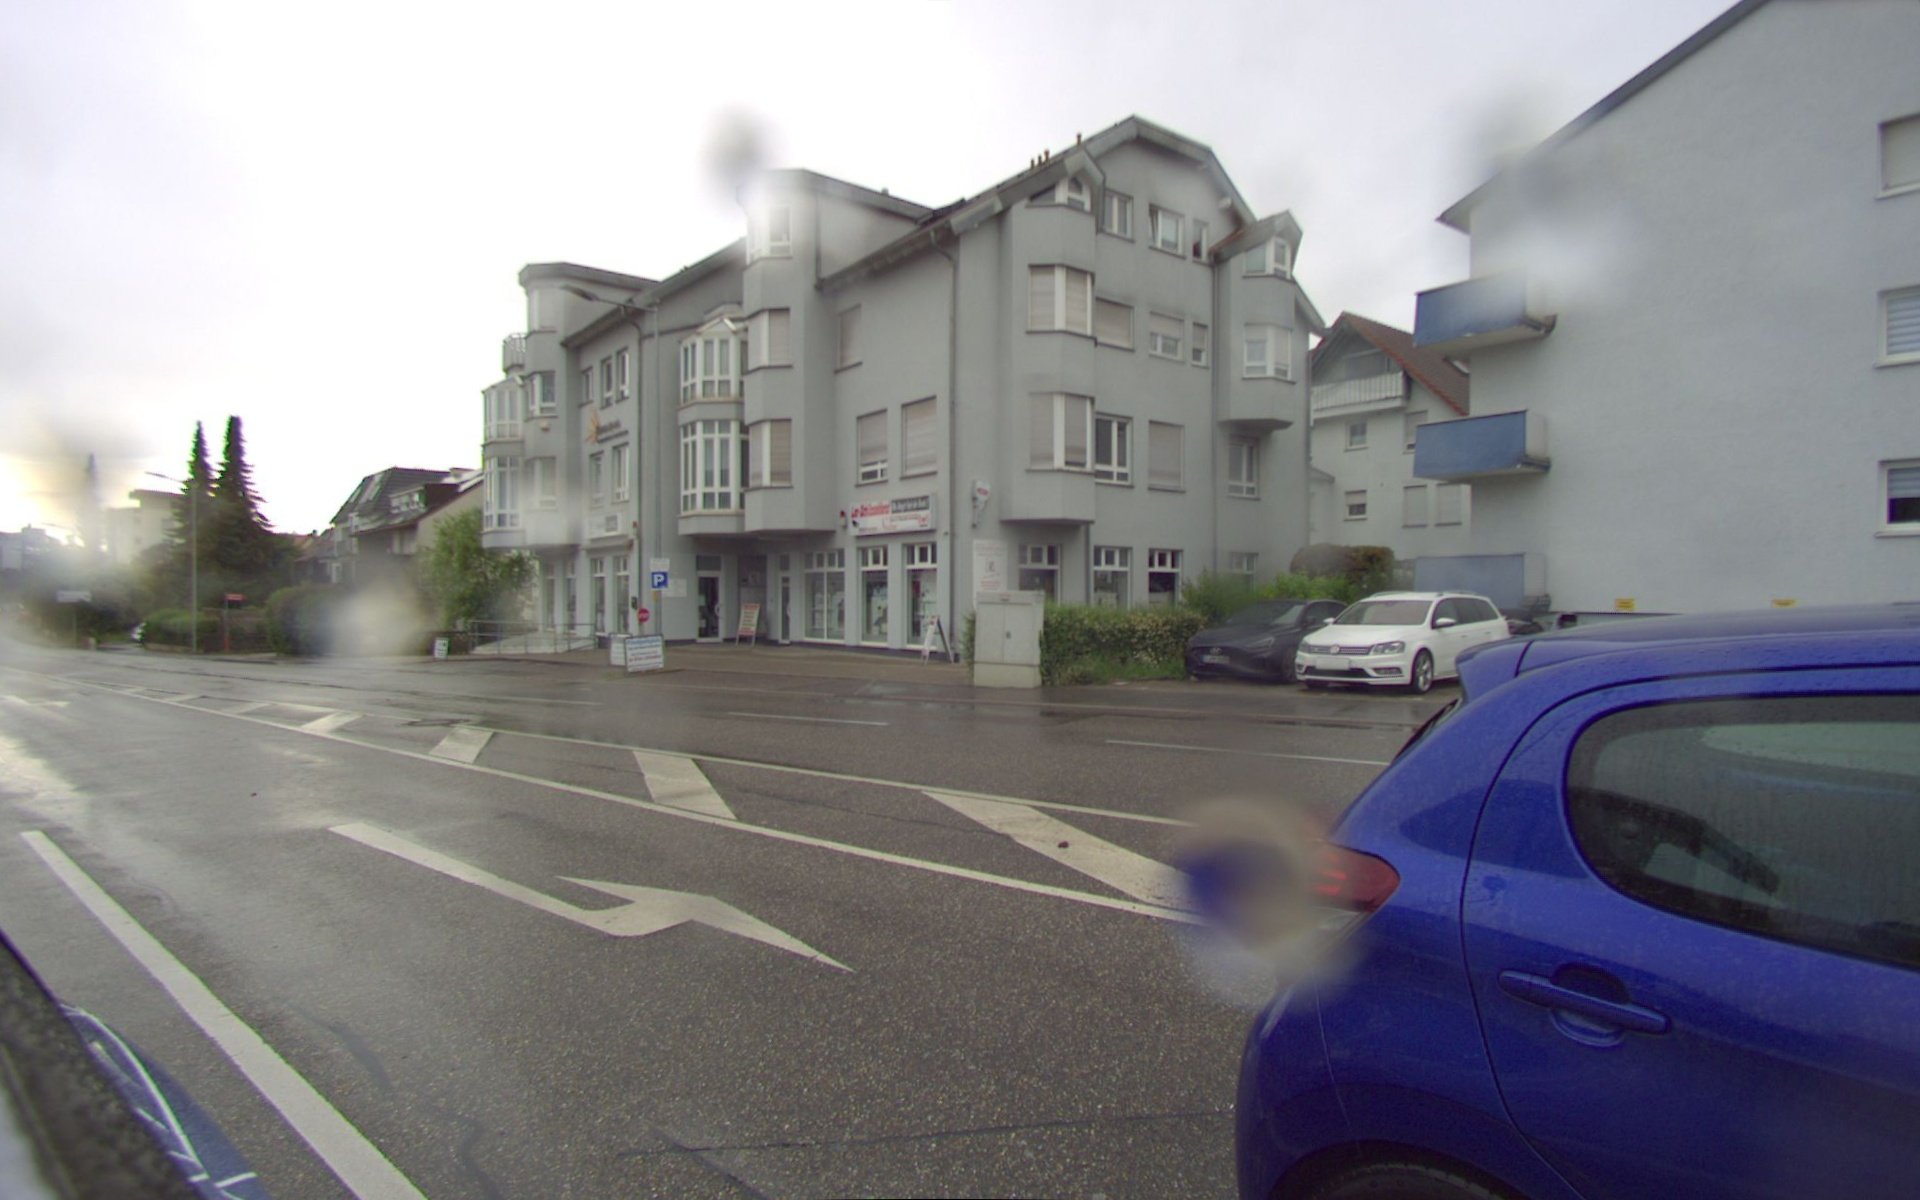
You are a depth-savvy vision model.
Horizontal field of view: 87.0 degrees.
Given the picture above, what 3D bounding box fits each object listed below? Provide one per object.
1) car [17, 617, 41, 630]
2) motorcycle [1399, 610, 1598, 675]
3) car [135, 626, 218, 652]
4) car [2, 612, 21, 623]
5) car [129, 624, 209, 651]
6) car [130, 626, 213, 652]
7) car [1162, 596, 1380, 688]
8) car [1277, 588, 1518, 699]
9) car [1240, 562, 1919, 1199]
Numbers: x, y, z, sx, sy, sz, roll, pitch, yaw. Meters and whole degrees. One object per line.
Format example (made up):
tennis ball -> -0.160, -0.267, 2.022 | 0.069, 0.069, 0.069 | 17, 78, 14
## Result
car -> -124.330, 3.156, 135.175 | 1.968, 1.628, 4.008 | 0, -1, -38
motorcycle -> 9.766, 0.782, 18.546 | 3.112, 1.108, 0.869 | -2, -1, 25
car -> -49.623, 2.439, 64.148 | 3.978, 1.453, 1.814 | -2, 0, -44
car -> -148.756, 2.774, 158.796 | 1.824, 1.777, 4.129 | 0, -1, -39
car -> -53.152, 2.501, 68.020 | 4.058, 1.557, 2.002 | -2, 0, -44
car -> -51.357, 2.509, 65.941 | 4.096, 1.453, 1.892 | -2, 0, -42
car -> 5.469, 0.659, 17.559 | 3.940, 1.421, 1.906 | 0, -1, -43
car -> 6.844, 0.592, 15.639 | 4.169, 1.485, 1.906 | 0, -1, -43
car -> 2.233, 0.635, 1.251 | 3.269, 1.421, 1.562 | -2, 0, 42
